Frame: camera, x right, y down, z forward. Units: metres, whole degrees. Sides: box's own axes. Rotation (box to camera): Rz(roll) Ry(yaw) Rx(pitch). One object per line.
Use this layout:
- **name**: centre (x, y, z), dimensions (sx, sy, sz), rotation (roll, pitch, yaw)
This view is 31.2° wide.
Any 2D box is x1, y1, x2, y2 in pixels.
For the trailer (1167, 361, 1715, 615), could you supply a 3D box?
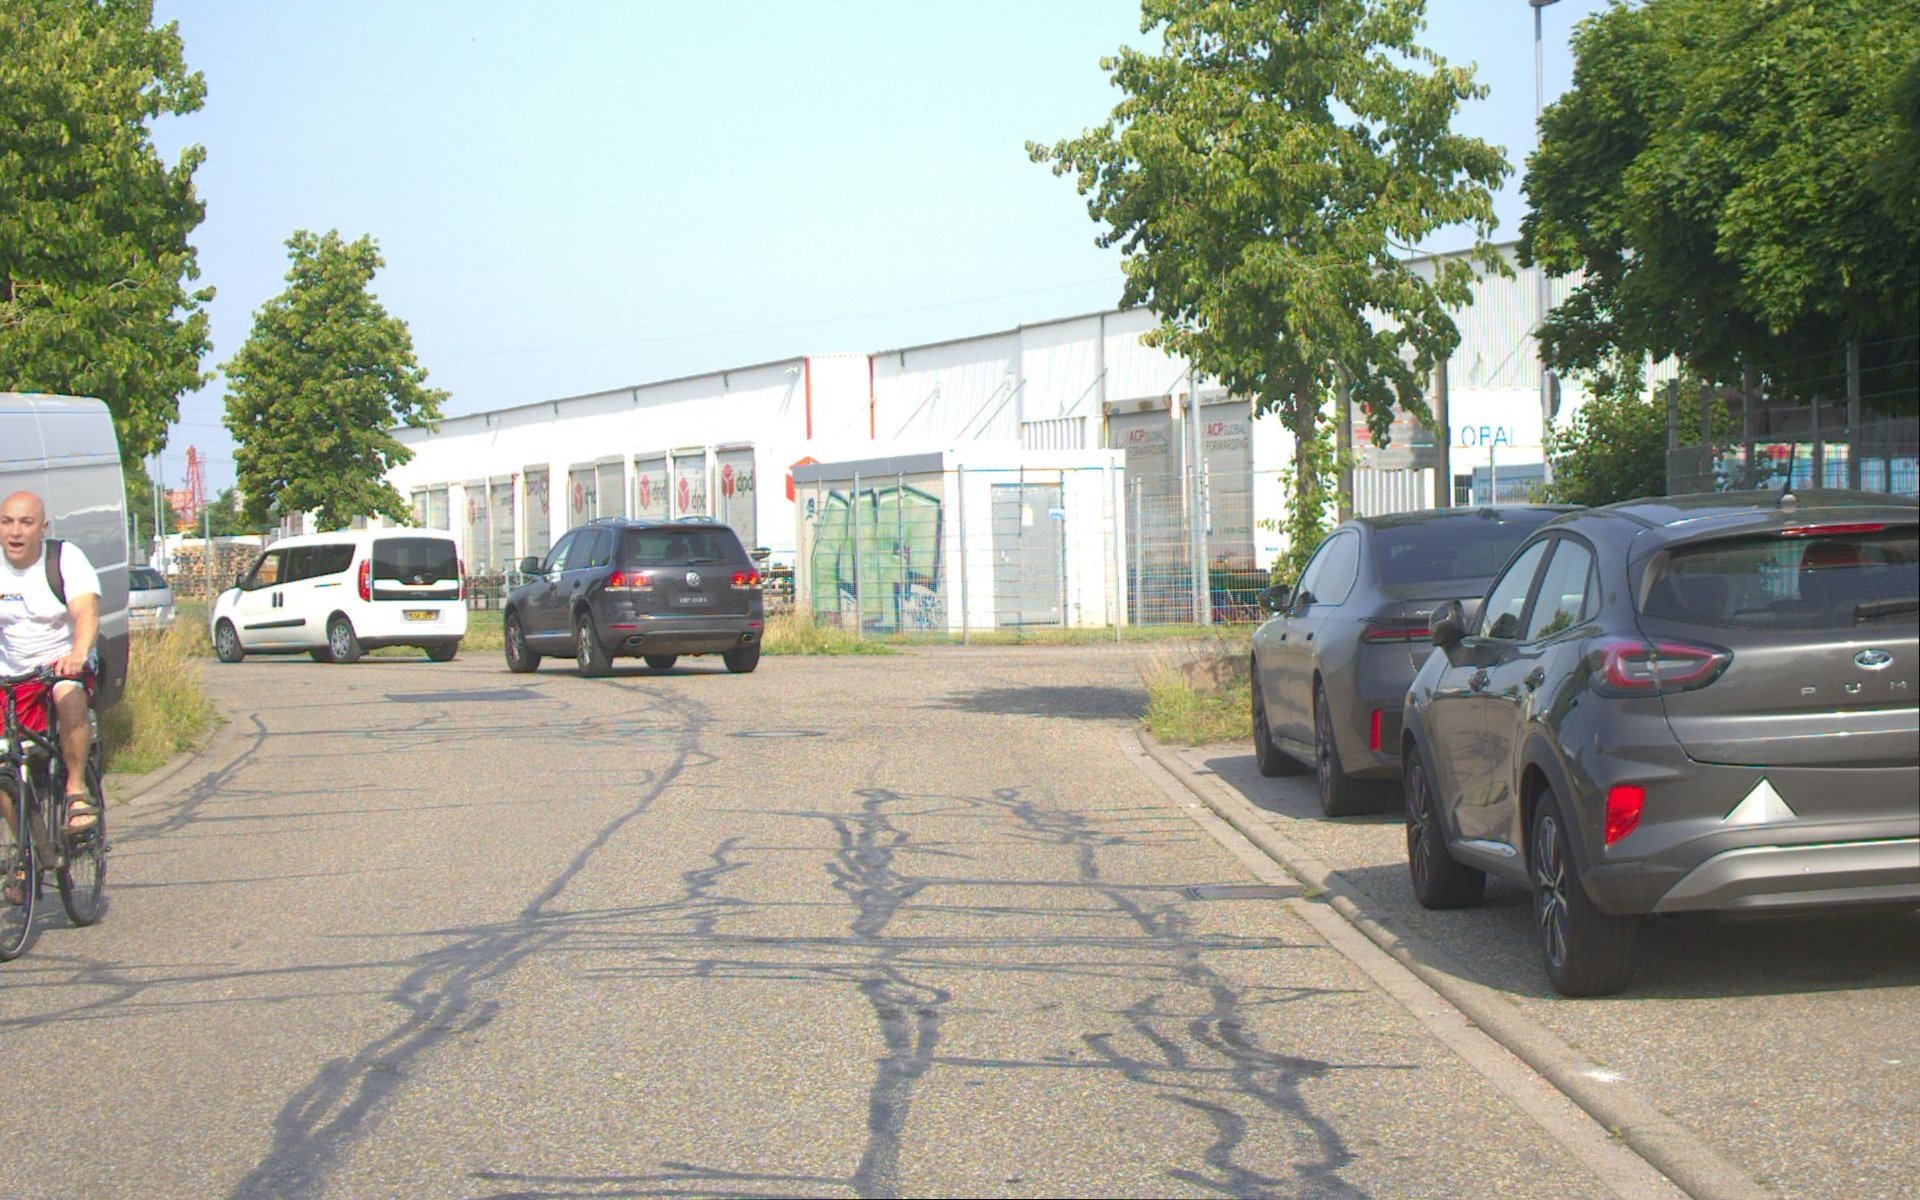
- **trailer**: centre (7.896, -1.827, 56.257), dimensions (8.534, 3.881, 2.776), rotation (-1, -1, -22)

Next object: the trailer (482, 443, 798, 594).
- **trailer**: centre (-8.629, -2.162, 92.882), dimensions (7.961, 3.880, 2.776), rotation (1, 1, -25)

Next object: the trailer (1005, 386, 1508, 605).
- **trailer**: centre (5.374, -1.851, 61.836), dimensions (8.730, 3.748, 2.791), rotation (-1, 0, -24)

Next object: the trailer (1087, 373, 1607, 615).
- **trailer**: centre (6.696, -1.857, 59.191), dimensions (8.534, 3.880, 2.776), rotation (-2, 1, -23)

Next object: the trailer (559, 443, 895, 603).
- **trailer**: centre (-5.916, -1.926, 87.525), dimensions (8.031, 3.880, 2.776), rotation (1, 1, -25)

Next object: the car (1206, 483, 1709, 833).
- **car**: centre (2.547, 0.240, 18.888), dimensions (1.880, 1.568, 5.119), rotation (-3, 1, -1)

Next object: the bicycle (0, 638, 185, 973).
- **bicycle**: centre (-3.671, 0.770, 13.499), dimensions (0.716, 1.118, 2.219), rotation (-4, 2, -1)

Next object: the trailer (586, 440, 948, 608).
- **trailer**: centre (-4.675, -1.818, 83.769), dimensions (8.305, 3.880, 2.776), rotation (1, 1, -25)

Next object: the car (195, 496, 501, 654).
- **car**: centre (-8.686, -0.344, 48.551), dimensions (2.122, 2.103, 4.622), rotation (-2, 1, -41)

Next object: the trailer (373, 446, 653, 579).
- **trailer**: centre (-13.625, -2.639, 104.953), dimensions (7.961, 3.880, 2.776), rotation (1, 1, -25)

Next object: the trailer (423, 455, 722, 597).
- **trailer**: centre (-11.076, -2.087, 98.395), dimensions (7.961, 3.880, 2.776), rotation (1, 1, -25)

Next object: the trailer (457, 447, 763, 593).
- **trailer**: centre (-9.726, -2.189, 95.667), dimensions (7.961, 3.880, 2.776), rotation (1, 1, -25)

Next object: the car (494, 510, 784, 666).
- **car**: centre (-3.598, -0.140, 37.876), dimensions (1.880, 1.581, 4.114), rotation (-2, 1, -25)

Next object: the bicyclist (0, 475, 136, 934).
- **bicyclist**: centre (-3.696, 0.381, 13.449), dimensions (0.639, 1.713, 1.165), rotation (-1, 1, -1)

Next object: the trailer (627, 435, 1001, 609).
- **trailer**: centre (-3.416, -1.801, 80.947), dimensions (8.305, 3.880, 2.776), rotation (1, 1, -25)

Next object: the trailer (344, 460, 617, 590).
- **trailer**: centre (-14.993, -2.320, 107.682), dimensions (7.961, 3.880, 2.776), rotation (1, 1, -25)

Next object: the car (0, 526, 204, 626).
- **car**: centre (-15.338, -0.425, 60.625), dimensions (1.800, 1.620, 4.446), rotation (-5, 3, -44)

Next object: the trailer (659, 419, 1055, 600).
- **trailer**: centre (-2.316, -1.999, 78.143), dimensions (8.534, 3.880, 2.776), rotation (1, 1, -25)

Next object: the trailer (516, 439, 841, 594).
- **trailer**: centre (-7.359, -2.153, 90.143), dimensions (7.961, 3.880, 2.776), rotation (1, 1, -25)

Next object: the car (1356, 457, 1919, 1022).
- **car**: centre (2.620, 0.353, 11.903), dimensions (1.880, 1.568, 4.114), rotation (-3, 1, -1)

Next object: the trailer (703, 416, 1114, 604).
- **trailer**: centre (-1.101, -1.911, 75.193), dimensions (8.534, 3.880, 2.776), rotation (1, 1, -25)

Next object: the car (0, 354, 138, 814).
- **car**: centre (-6.522, -0.130, 20.462), dimensions (2.102, 2.586, 6.505), rotation (1, 1, -4)
